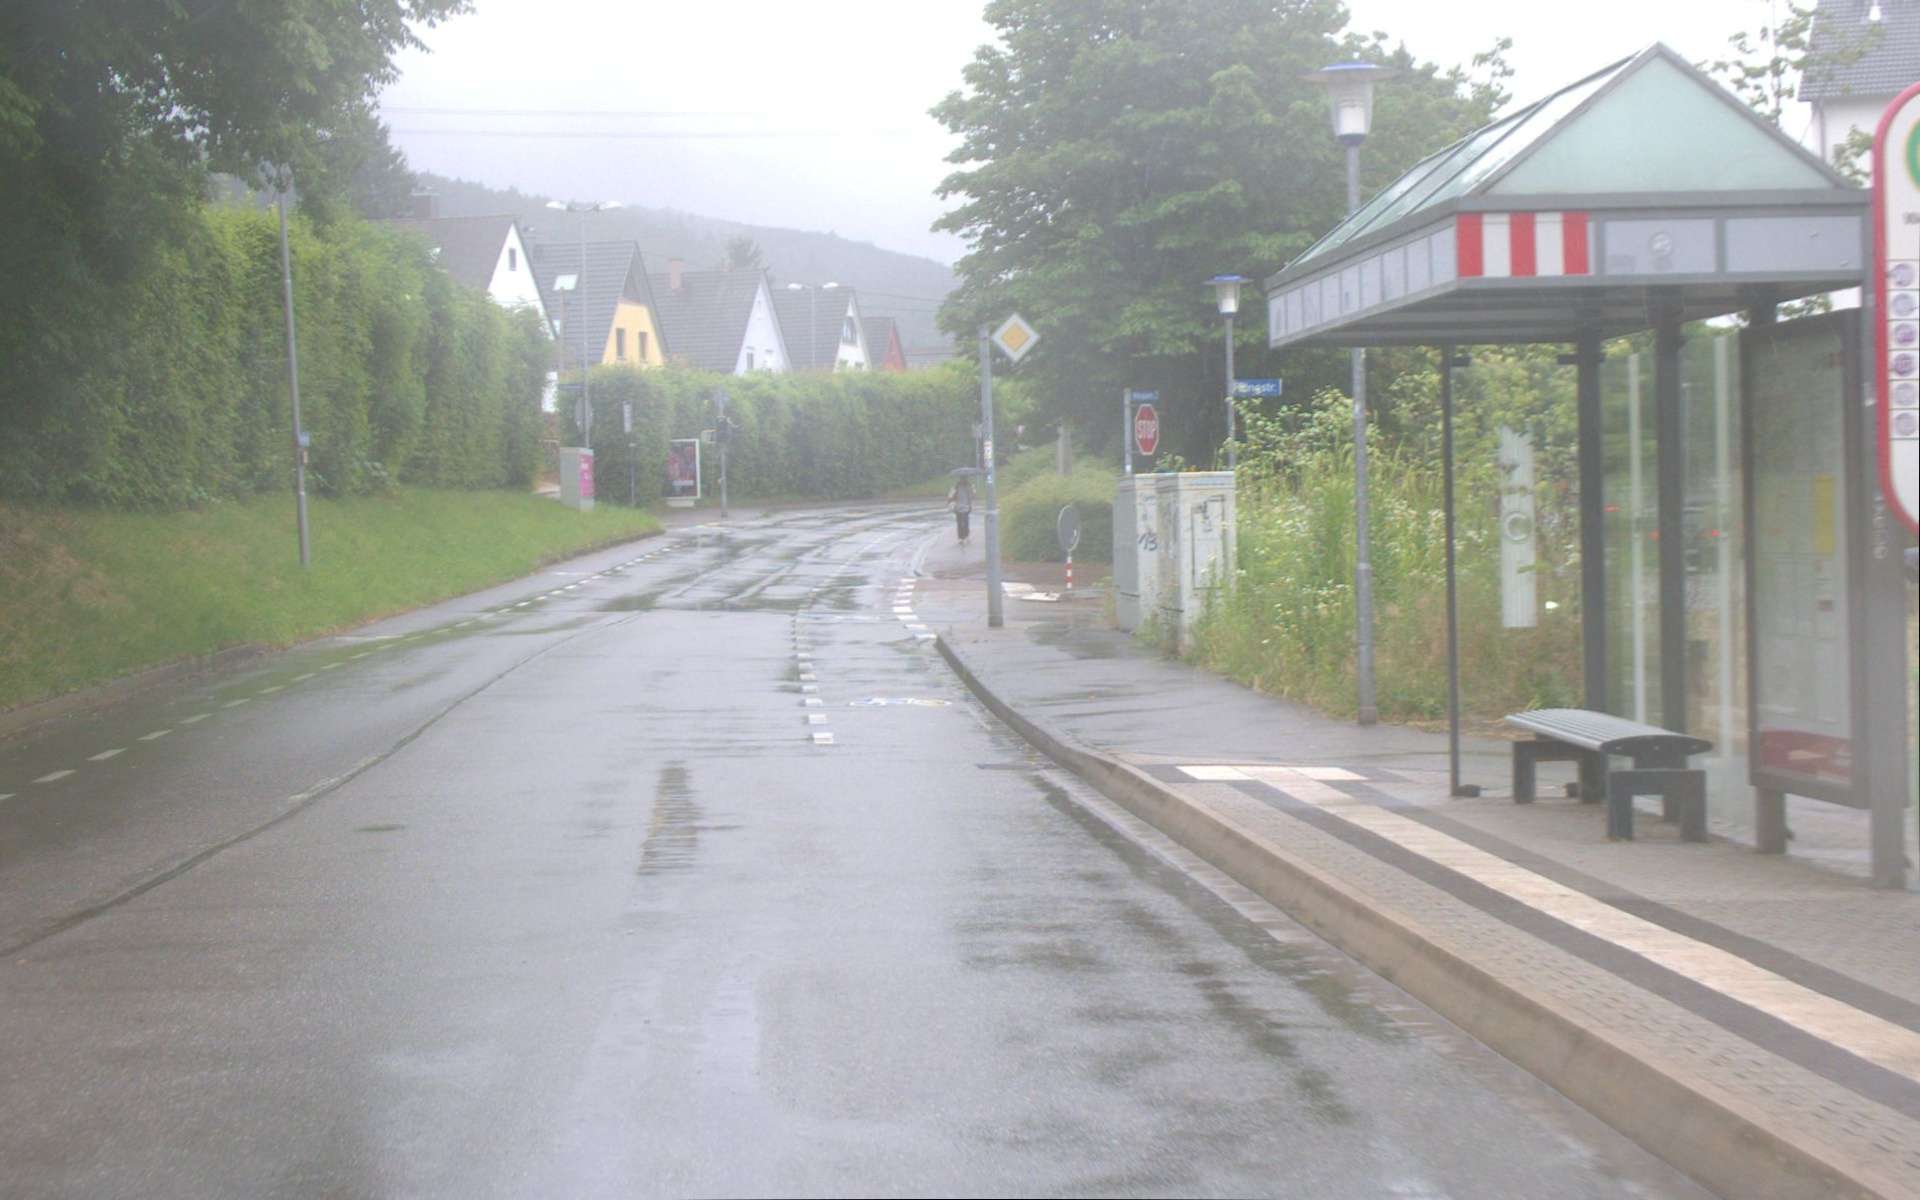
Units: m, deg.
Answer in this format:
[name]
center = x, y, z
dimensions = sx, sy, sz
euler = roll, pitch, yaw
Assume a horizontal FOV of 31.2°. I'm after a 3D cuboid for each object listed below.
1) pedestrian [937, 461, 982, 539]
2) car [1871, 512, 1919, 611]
[pedestrian]
center = -0.010, -2.205, 75.915
dimensions = 0.920, 1.669, 1.057
euler = -2, 2, 1
[car]
center = 15.375, -0.524, 48.523
dimensions = 4.606, 1.383, 1.944
euler = 1, 2, 24
